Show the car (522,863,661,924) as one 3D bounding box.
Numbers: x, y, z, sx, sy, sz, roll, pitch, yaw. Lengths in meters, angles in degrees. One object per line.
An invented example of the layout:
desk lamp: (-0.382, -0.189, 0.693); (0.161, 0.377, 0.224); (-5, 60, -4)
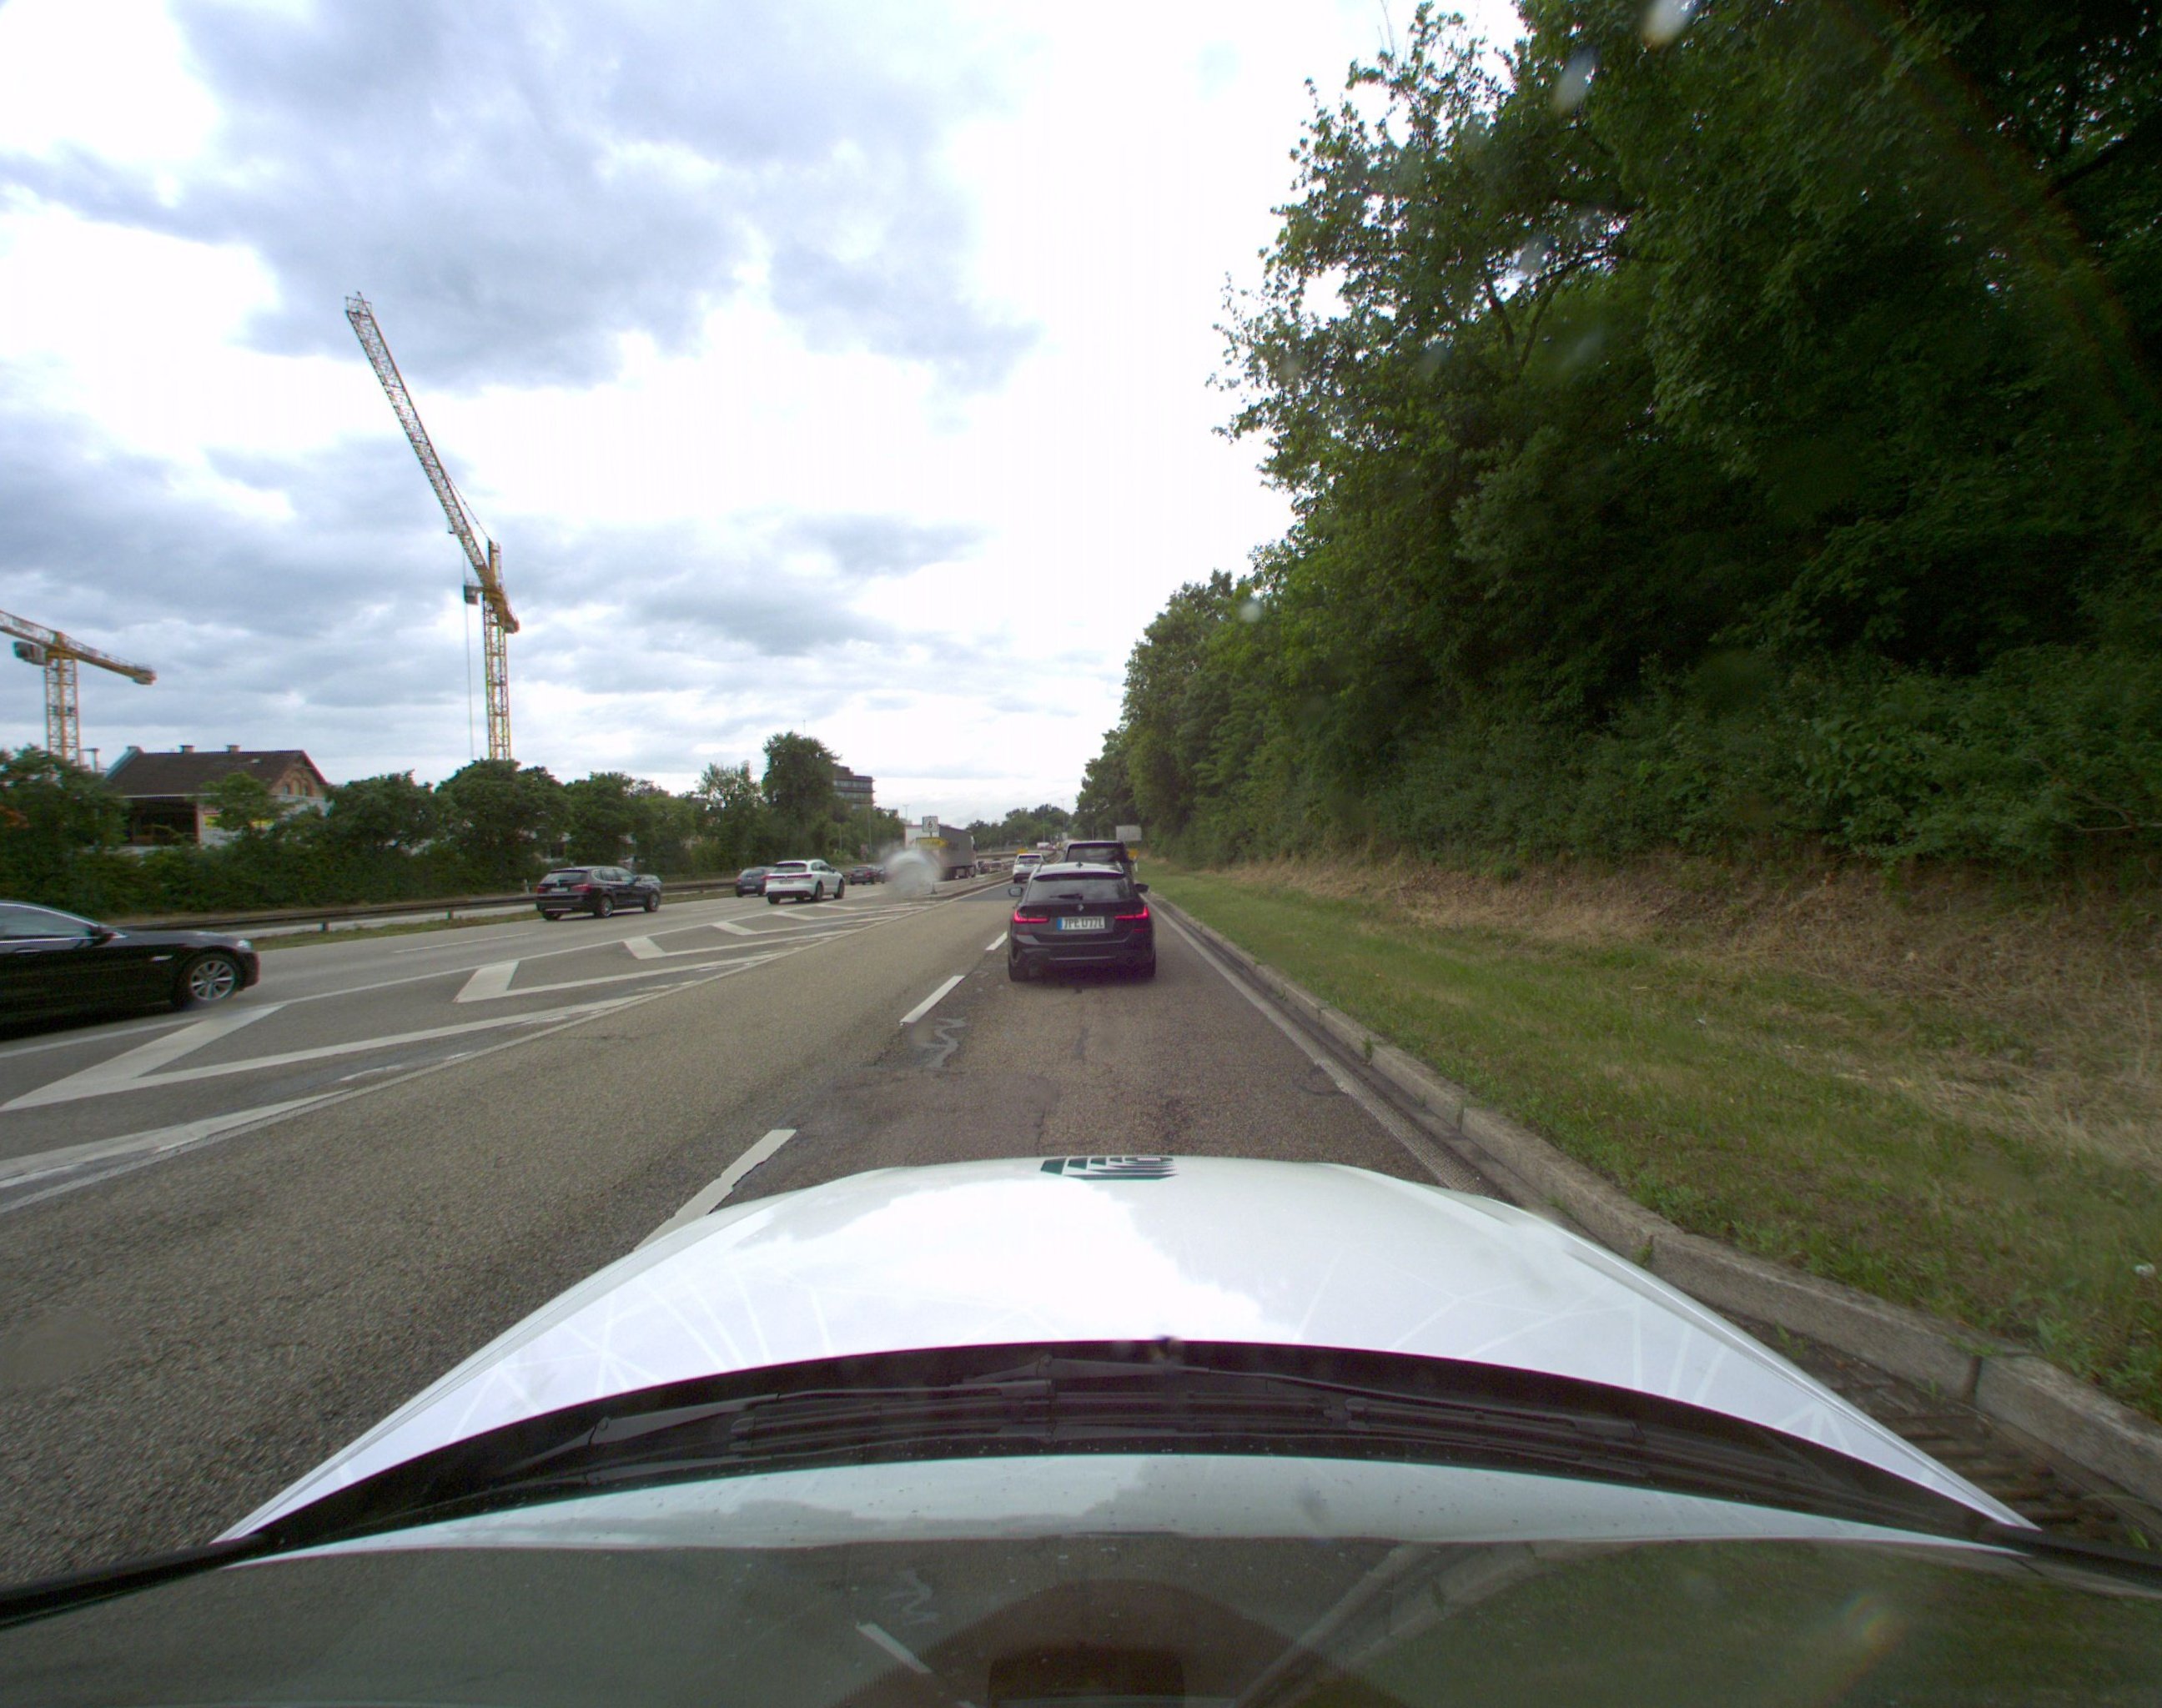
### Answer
car: (-15.864, 1.216, 26.710); (1.884, 1.681, 4.305); (-2, 0, 0)

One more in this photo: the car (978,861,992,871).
car: (-14.458, 1.855, 123.097); (1.587, 1.432, 3.063); (-2, 0, 2)

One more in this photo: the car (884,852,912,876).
car: (-15.846, 0.836, 70.693); (1.438, 2.044, 3.682); (-2, 0, 2)

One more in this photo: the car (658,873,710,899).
car: (-27.681, 2.230, 56.949); (1.682, 1.608, 4.007); (-1, 0, 0)

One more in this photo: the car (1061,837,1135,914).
car: (0.473, 0.529, 22.386); (1.790, 1.872, 4.001); (-2, 0, 1)

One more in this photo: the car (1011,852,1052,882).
car: (-2.843, 0.721, 47.306); (1.923, 1.596, 3.879); (-2, 0, 2)

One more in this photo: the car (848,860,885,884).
car: (-15.577, 1.318, 59.377); (1.682, 1.632, 3.734); (-1, 0, 0)

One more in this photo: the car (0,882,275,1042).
car: (-11.334, 1.119, 8.144); (1.705, 1.456, 4.670); (-2, 0, 3)

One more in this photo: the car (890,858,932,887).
car: (-10.068, 1.069, 48.453); (1.763, 1.549, 3.492); (-2, 0, 0)

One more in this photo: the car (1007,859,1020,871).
car: (-9.409, 1.503, 113.215); (1.443, 1.490, 3.063); (-2, 0, 2)

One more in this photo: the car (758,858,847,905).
car: (-11.144, 1.045, 32.937); (1.939, 1.692, 4.507); (-2, 0, 1)

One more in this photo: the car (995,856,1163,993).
car: (-0.034, 0.792, 11.113); (1.841, 1.466, 3.999); (-2, 0, -1)

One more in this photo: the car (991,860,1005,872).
car: (-10.441, 1.442, 102.556); (1.372, 1.398, 3.063); (-2, 0, 2)

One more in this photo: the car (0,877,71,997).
car: (-15.879, 1.191, 9.921); (1.745, 1.635, 4.267); (-2, 0, 1)

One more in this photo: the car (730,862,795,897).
car: (-16.047, 1.254, 41.206); (1.682, 1.608, 4.007); (-1, 0, 0)

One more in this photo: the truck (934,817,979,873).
truck: (-10.815, -0.776, 71.159); (3.073, 4.697, 4.232); (-1, 0, 1)

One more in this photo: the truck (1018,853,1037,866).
truck: (-11.083, 1.041, 168.521); (3.263, 2.509, 7.661); (-2, 0, 1)

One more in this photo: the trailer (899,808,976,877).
trailer: (-10.913, -0.777, 63.822); (3.122, 4.725, 14.559); (-1, 0, 1)
